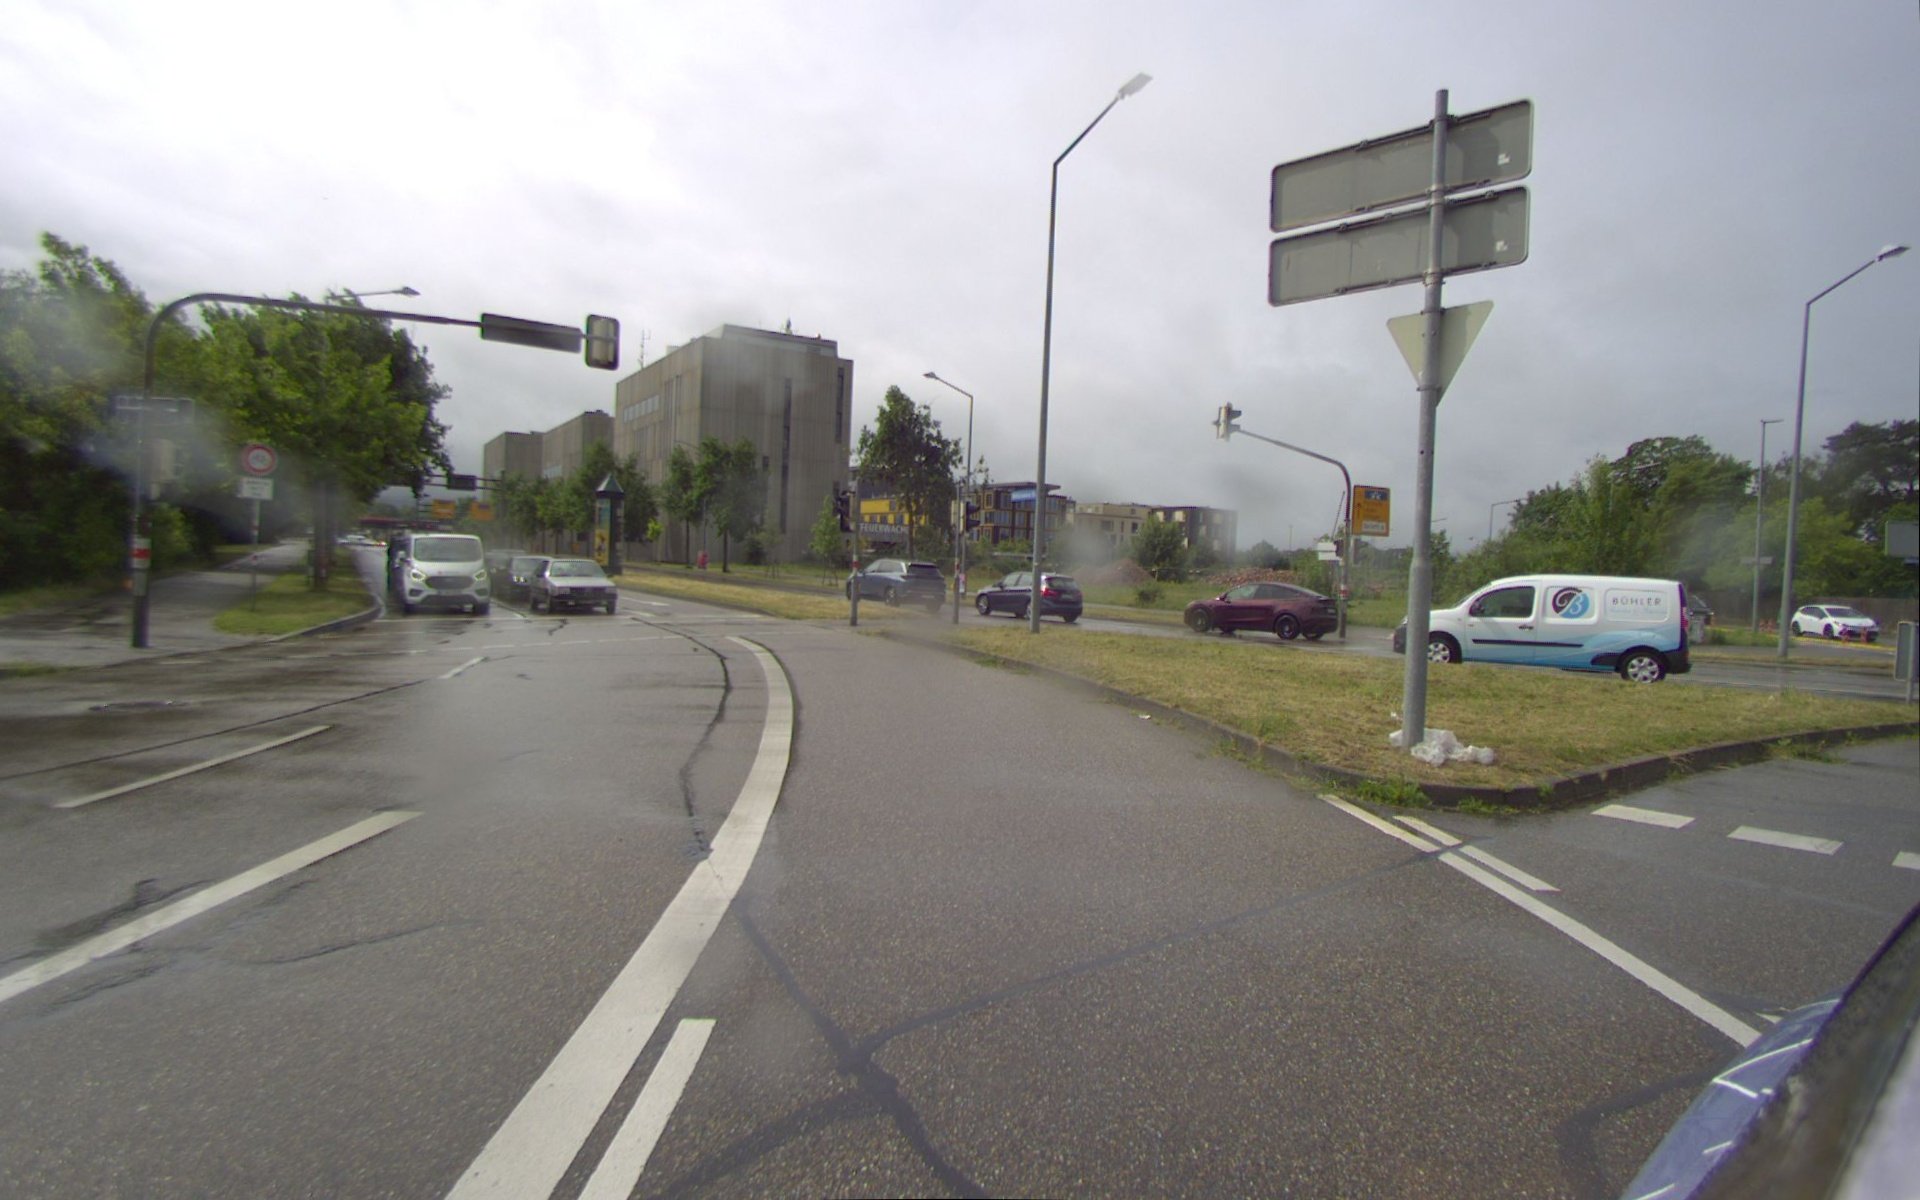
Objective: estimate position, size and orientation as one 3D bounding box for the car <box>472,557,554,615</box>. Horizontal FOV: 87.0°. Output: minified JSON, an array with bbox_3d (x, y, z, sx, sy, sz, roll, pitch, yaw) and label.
[{"bbox_3d":[-14.499,-0.501,32.693,1.830,1.554,4.494,2,3,-31],"label":"car"}]

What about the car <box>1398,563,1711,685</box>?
[{"bbox_3d":[10.375,0.337,17.963,4.519,1.784,1.846,3,1,33],"label":"car"}]

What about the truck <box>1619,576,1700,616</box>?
[{"bbox_3d":[53.154,-0.363,77.125,2.424,2.760,6.922,3,2,12],"label":"truck"}]

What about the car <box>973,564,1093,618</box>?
[{"bbox_3d":[2.329,-0.327,33.310,1.775,1.547,4.003,2,2,-34],"label":"car"}]

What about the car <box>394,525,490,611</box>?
[{"bbox_3d":[-13.745,-0.859,26.790,2.036,2.012,4.808,2,2,-28],"label":"car"}]

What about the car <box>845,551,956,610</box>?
[{"bbox_3d":[-2.110,-0.715,34.500,2.001,1.779,4.329,2,2,-30],"label":"car"}]

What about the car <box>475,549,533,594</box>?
[{"bbox_3d":[-17.419,-1.116,38.547,1.536,1.601,3.606,2,2,-31],"label":"car"}]

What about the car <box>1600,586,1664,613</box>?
[{"bbox_3d":[48.090,-0.059,72.502,1.843,1.683,4.477,4,2,6],"label":"car"}]

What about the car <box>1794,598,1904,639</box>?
[{"bbox_3d":[41.153,0.828,47.008,1.847,1.684,4.467,1,1,12],"label":"car"}]

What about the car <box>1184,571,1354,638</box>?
[{"bbox_3d":[9.169,0.097,30.291,4.488,1.677,1.845,5,2,45],"label":"car"}]

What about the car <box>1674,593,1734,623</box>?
[{"bbox_3d":[45.832,0.514,62.414,1.855,1.683,4.448,4,1,23],"label":"car"}]

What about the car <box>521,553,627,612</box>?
[{"bbox_3d":[-10.542,-0.524,27.441,1.830,1.397,4.557,2,2,-31],"label":"car"}]
